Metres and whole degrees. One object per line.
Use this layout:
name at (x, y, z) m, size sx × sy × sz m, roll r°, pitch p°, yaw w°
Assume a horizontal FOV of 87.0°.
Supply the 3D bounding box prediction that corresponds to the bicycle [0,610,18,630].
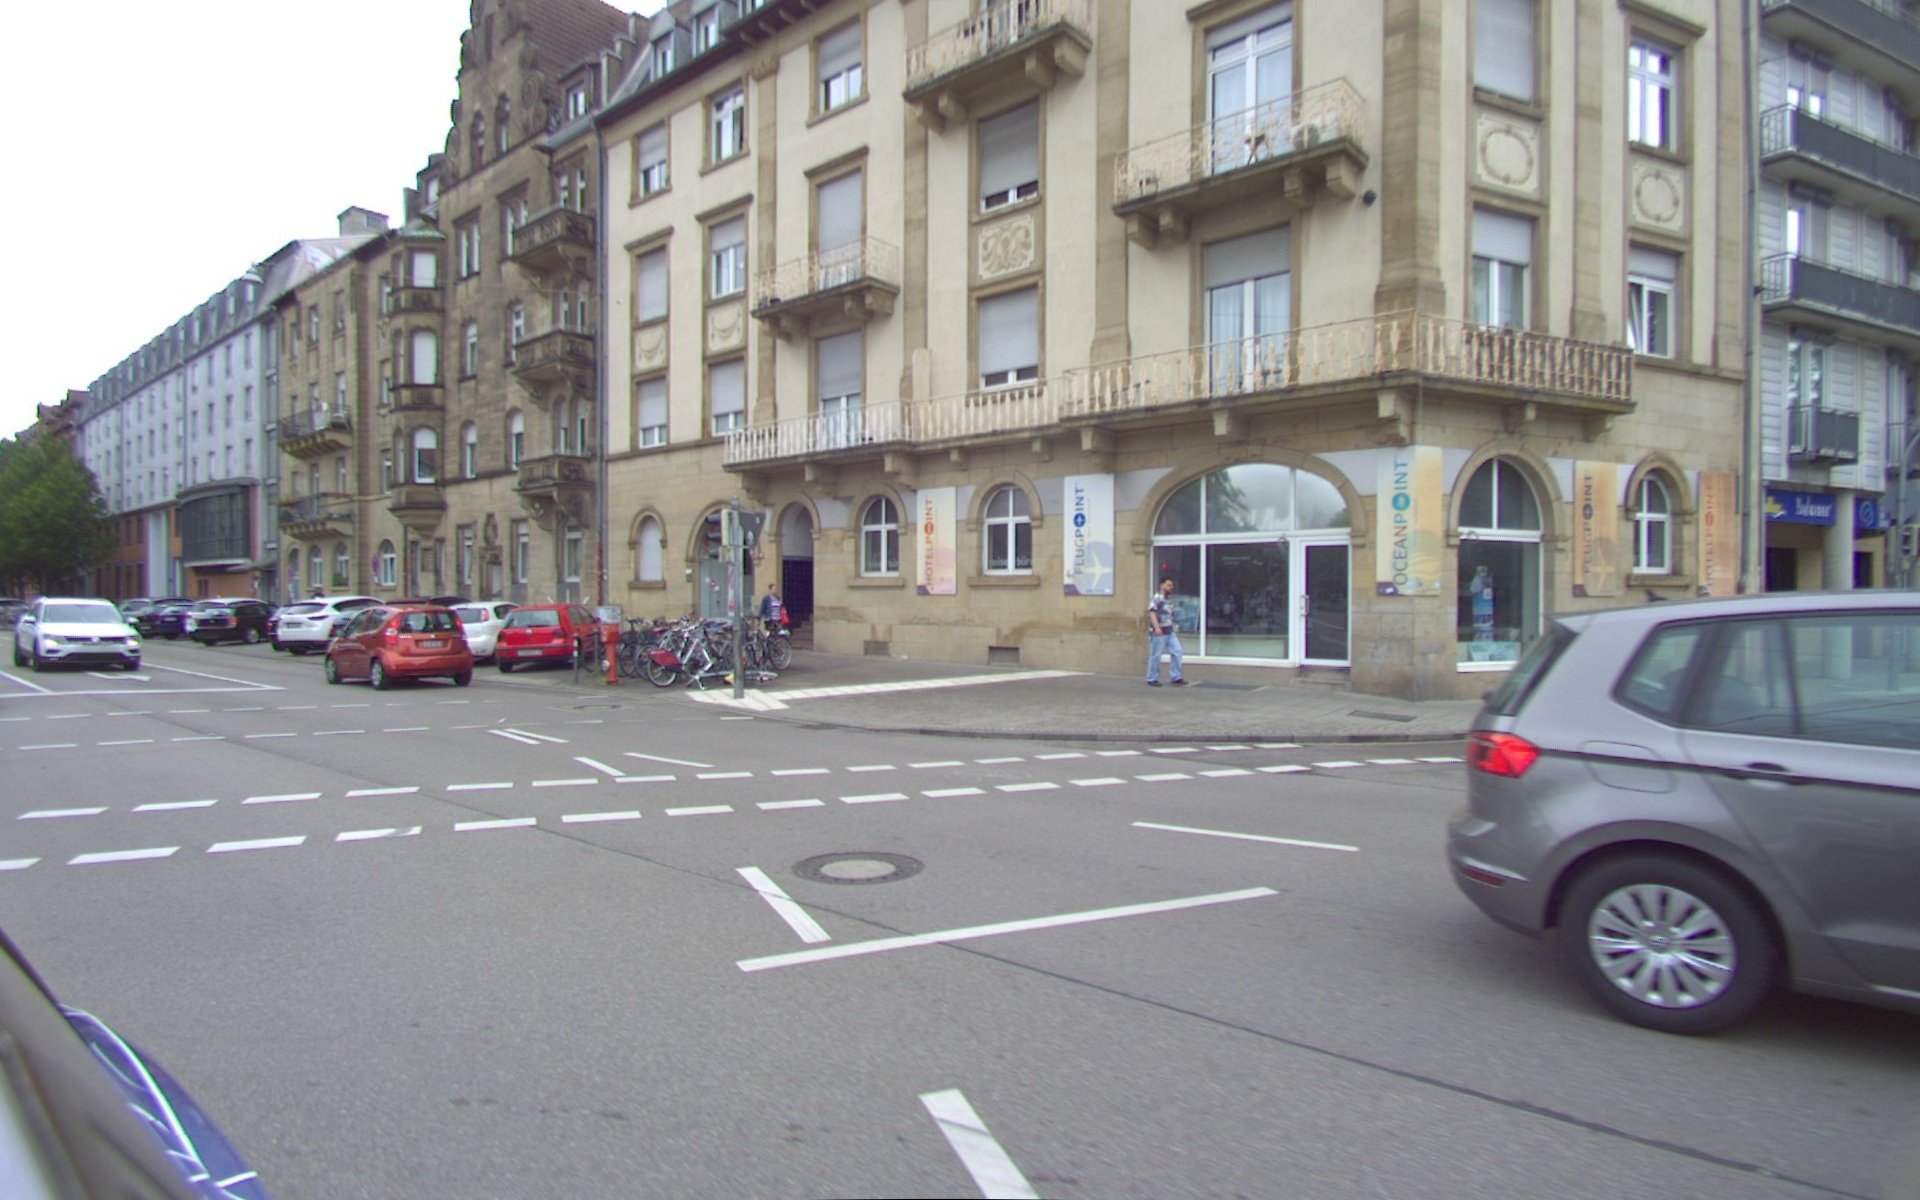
bicycle at (-54.094, 1.135, 56.921) m, size 0.416 × 1.082 × 1.609 m, roll 0°, pitch 1°, yaw 39°

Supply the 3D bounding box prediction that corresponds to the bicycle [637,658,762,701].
bicycle at (-4.552, 1.370, 17.807) m, size 1.028 × 0.448 × 1.868 m, roll -2°, pitch 4°, yaw 39°

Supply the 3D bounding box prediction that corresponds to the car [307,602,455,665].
car at (-16.393, 0.897, 28.913) m, size 1.709 × 1.505 × 3.996 m, roll -2°, pitch 2°, yaw 4°

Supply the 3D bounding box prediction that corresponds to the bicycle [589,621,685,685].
bicycle at (-6.579, 1.056, 20.687) m, size 0.442 × 1.043 × 1.868 m, roll -1°, pitch 5°, yaw 39°

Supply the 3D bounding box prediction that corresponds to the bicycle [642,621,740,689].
bicycle at (-5.161, 1.035, 19.524) m, size 0.442 × 1.043 × 1.868 m, roll -1°, pitch 5°, yaw 39°

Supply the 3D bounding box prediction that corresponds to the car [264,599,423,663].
car at (-18.747, 0.873, 30.978) m, size 1.825 × 1.736 × 3.979 m, roll 0°, pitch 1°, yaw 16°

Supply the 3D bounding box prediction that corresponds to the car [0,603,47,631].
car at (-56.755, 1.016, 59.702) m, size 1.758 × 1.641 × 3.976 m, roll 0°, pitch 0°, yaw 18°

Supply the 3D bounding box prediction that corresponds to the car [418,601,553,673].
car at (-11.691, 0.856, 25.238) m, size 1.542 × 1.483 × 4.002 m, roll -1°, pitch 2°, yaw -1°

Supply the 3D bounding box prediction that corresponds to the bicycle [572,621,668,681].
bicycle at (-7.131, 1.055, 21.294) m, size 0.442 × 1.043 × 1.866 m, roll 0°, pitch 4°, yaw 44°

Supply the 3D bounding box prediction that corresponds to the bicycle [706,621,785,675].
bicycle at (-4.421, 0.955, 20.766) m, size 1.996 × 1.035 × 0.496 m, roll 0°, pitch 0°, yaw 42°

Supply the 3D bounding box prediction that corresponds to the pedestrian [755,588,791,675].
pedestrian at (-4.308, 0.711, 23.297) m, size 0.550 × 1.973 × 0.612 m, roll 0°, pitch -1°, yaw 42°

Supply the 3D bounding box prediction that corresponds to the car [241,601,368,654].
car at (-21.197, 0.856, 32.903) m, size 1.549 × 1.508 × 3.810 m, roll 0°, pitch 2°, yaw 2°

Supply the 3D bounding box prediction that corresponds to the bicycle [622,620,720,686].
bicycle at (-5.661, 1.017, 19.918) m, size 0.442 × 1.043 × 1.868 m, roll -1°, pitch 5°, yaw 39°

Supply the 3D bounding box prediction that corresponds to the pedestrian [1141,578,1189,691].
pedestrian at (3.343, 0.555, 16.512) m, size 0.550 × 1.799 × 0.560 m, roll 0°, pitch -1°, yaw 42°

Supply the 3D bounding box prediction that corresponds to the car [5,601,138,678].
car at (-20.679, 0.839, 23.498) m, size 4.250 × 1.618 × 1.885 m, roll 0°, pitch 0°, yaw 43°

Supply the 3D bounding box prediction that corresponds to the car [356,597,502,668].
car at (-13.874, 0.790, 26.736) m, size 1.707 × 1.664 × 4.227 m, roll 0°, pitch 1°, yaw -1°

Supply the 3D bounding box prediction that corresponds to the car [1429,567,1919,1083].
car at (3.877, 0.672, 3.308) m, size 3.994 × 1.536 × 1.716 m, roll 0°, pitch 0°, yaw 38°

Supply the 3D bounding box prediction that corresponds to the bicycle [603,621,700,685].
bicycle at (-6.168, 1.038, 20.343) m, size 0.442 × 1.043 × 1.868 m, roll -1°, pitch 5°, yaw 39°

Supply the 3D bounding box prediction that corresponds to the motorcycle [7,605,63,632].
motorcycle at (-48.939, 0.977, 53.544) m, size 0.599 × 1.363 × 2.096 m, roll 0°, pitch 1°, yaw 41°

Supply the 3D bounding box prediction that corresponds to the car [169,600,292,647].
car at (-27.898, 0.851, 38.852) m, size 1.681 × 1.565 × 3.997 m, roll -1°, pitch 2°, yaw 3°

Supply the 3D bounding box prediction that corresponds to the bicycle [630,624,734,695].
bicycle at (-5.117, 1.071, 18.741) m, size 0.442 × 1.043 × 1.868 m, roll -1°, pitch 5°, yaw 39°

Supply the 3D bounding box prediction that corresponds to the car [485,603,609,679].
car at (-9.421, 0.867, 23.404) m, size 1.657 × 1.483 × 4.007 m, roll -2°, pitch 1°, yaw -7°

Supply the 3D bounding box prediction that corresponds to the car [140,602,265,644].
car at (-30.146, 0.875, 40.416) m, size 1.804 × 1.456 × 3.737 m, roll -1°, pitch 2°, yaw 11°

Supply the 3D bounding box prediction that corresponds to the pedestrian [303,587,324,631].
pedestrian at (-27.257, 0.370, 42.674) m, size 0.642 × 1.837 × 0.613 m, roll 0°, pitch -1°, yaw 41°

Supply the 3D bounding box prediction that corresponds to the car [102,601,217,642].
car at (-34.689, 0.894, 43.996) m, size 1.710 × 1.565 × 3.999 m, roll -1°, pitch 2°, yaw 2°

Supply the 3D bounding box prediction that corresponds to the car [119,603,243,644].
car at (-32.306, 0.954, 42.094) m, size 1.713 × 1.449 × 3.990 m, roll -1°, pitch 2°, yaw 9°

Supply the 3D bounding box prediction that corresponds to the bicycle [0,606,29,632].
bicycle at (-50.996, 1.018, 54.194) m, size 0.416 × 1.299 × 1.609 m, roll 0°, pitch 1°, yaw 39°

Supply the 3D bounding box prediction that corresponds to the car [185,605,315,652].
car at (-25.370, 0.976, 36.348) m, size 1.641 × 1.428 × 3.994 m, roll 0°, pitch 2°, yaw 5°

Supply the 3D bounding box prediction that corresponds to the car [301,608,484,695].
car at (-11.148, 0.924, 19.796) m, size 3.994 × 1.536 × 1.716 m, roll 0°, pitch 0°, yaw 38°

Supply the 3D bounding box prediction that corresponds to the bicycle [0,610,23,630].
bicycle at (-53.636, 1.137, 56.720) m, size 0.416 × 1.082 × 1.609 m, roll 0°, pitch 1°, yaw 39°
